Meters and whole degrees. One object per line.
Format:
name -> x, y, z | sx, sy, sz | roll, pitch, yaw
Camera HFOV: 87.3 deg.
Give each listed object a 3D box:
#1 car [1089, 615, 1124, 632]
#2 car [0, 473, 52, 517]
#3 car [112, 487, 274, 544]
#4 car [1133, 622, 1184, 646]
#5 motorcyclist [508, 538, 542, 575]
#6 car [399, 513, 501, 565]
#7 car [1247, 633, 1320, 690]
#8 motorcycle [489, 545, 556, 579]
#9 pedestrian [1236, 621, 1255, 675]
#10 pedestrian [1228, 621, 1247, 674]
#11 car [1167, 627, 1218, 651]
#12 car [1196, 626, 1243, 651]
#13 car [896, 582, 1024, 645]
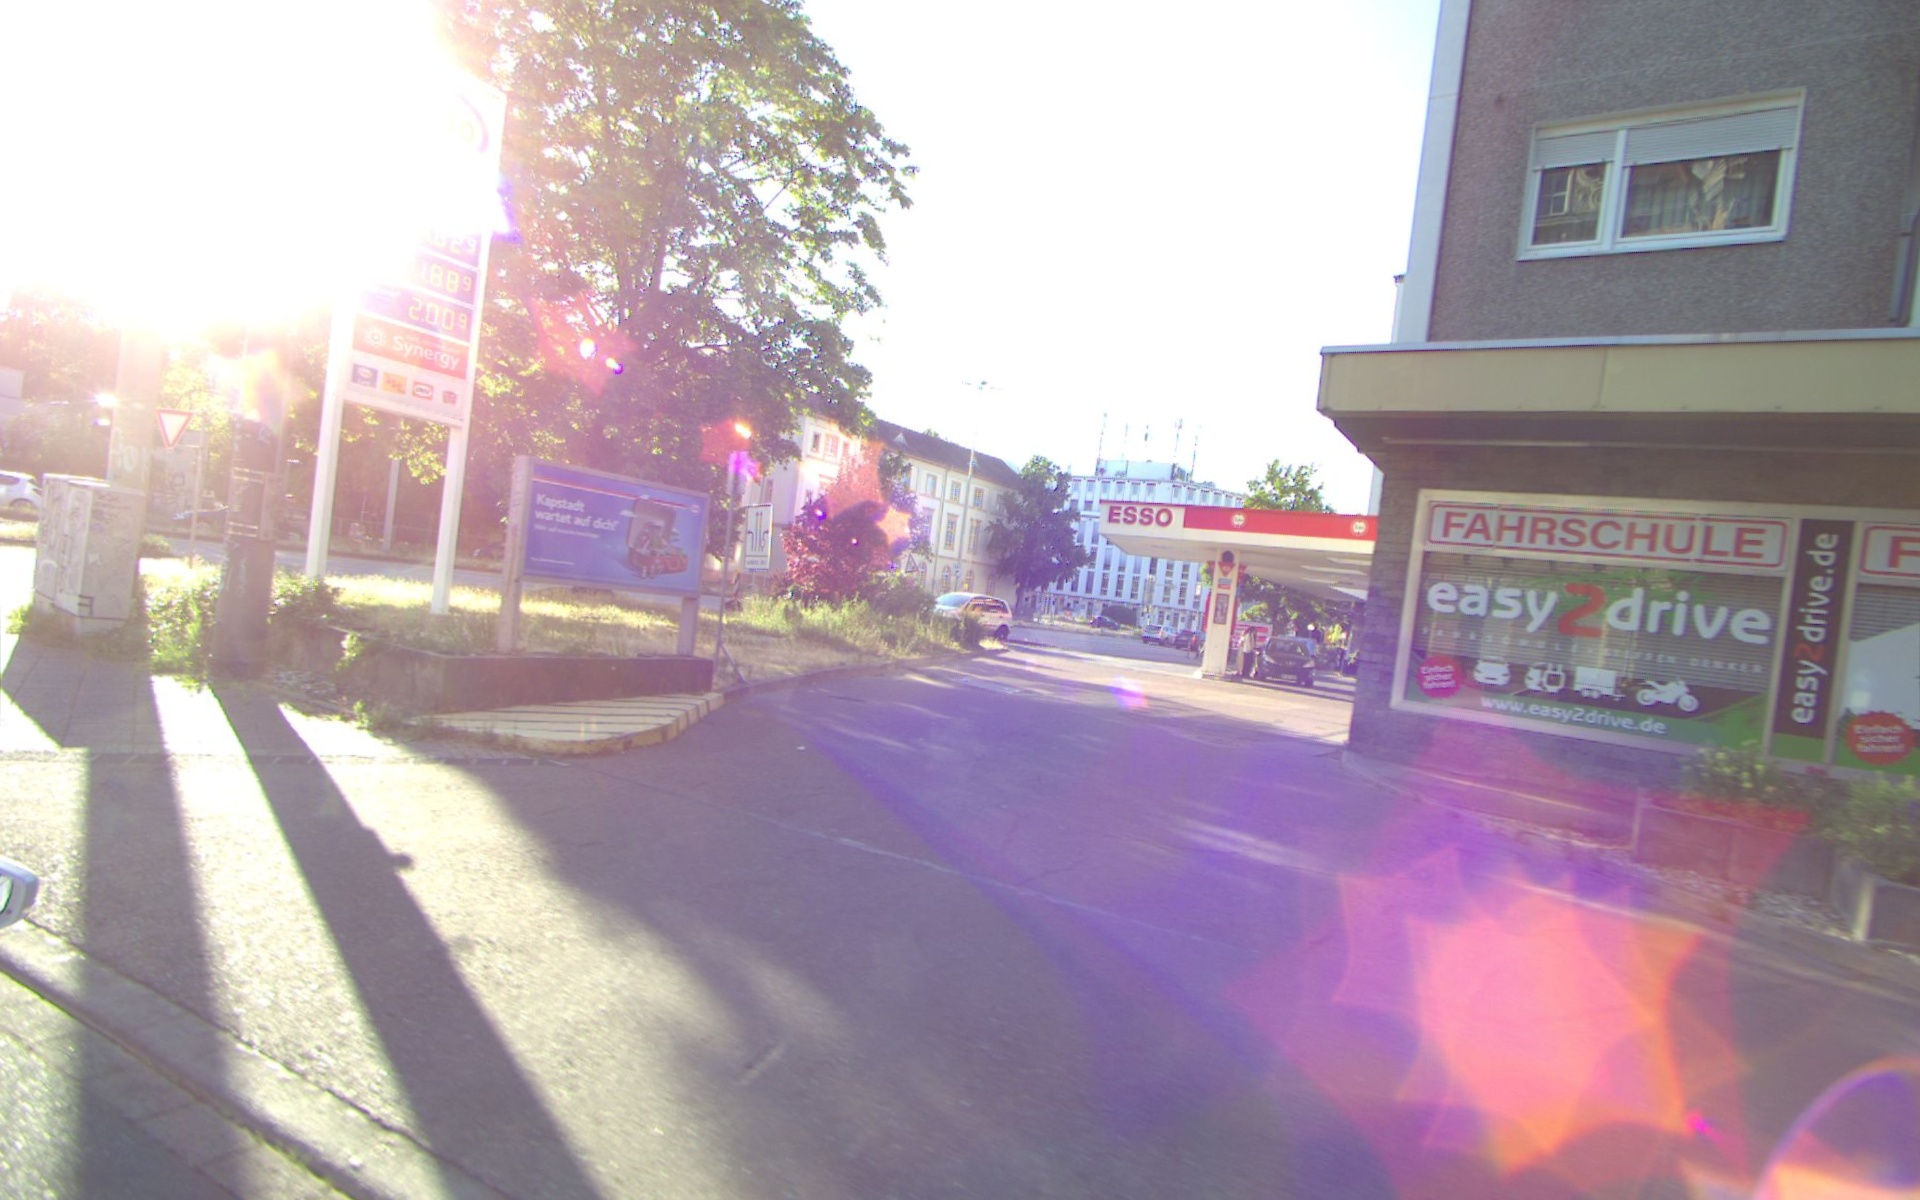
car -> 17.425, 2.791, 119.647 | 3.767, 1.594, 1.702 | 7, 1, 22
car -> -33.941, -3.812, 34.600 | 3.864, 1.335, 1.705 | 7, 0, -40
car -> -26.798, -2.922, 35.313 | 4.340, 1.312, 1.706 | 7, 0, -37
car -> 14.535, 2.500, 73.525 | 1.970, 1.372, 3.982 | 8, 2, 38
motorcyclist -> -18.652, -1.856, 43.164 | 1.052, 1.416, 0.845 | 6, 1, -37
car -> -24.159, -2.859, 47.671 | 3.964, 1.814, 1.734 | 9, -2, -34
car -> 10.436, 1.930, 32.469 | 1.962, 1.372, 3.997 | 7, 2, 18
motorcycle -> -18.739, -1.640, 43.124 | 2.449, 1.121, 0.852 | 7, 1, -38
pedestrian -> 9.475, 1.592, 33.371 | 0.413, 1.727, 0.420 | 7, 1, 18
pedestrian -> 9.348, 1.595, 33.876 | 0.413, 1.727, 0.420 | 7, 1, 18
car -> 16.489, 2.742, 71.198 | 1.970, 1.372, 3.982 | 8, 2, 38
car -> 19.536, 2.897, 75.717 | 1.905, 1.504, 3.985 | 8, 1, 38
car -> 0.042, 0.460, 33.276 | 3.970, 1.593, 1.684 | 7, 0, -40
